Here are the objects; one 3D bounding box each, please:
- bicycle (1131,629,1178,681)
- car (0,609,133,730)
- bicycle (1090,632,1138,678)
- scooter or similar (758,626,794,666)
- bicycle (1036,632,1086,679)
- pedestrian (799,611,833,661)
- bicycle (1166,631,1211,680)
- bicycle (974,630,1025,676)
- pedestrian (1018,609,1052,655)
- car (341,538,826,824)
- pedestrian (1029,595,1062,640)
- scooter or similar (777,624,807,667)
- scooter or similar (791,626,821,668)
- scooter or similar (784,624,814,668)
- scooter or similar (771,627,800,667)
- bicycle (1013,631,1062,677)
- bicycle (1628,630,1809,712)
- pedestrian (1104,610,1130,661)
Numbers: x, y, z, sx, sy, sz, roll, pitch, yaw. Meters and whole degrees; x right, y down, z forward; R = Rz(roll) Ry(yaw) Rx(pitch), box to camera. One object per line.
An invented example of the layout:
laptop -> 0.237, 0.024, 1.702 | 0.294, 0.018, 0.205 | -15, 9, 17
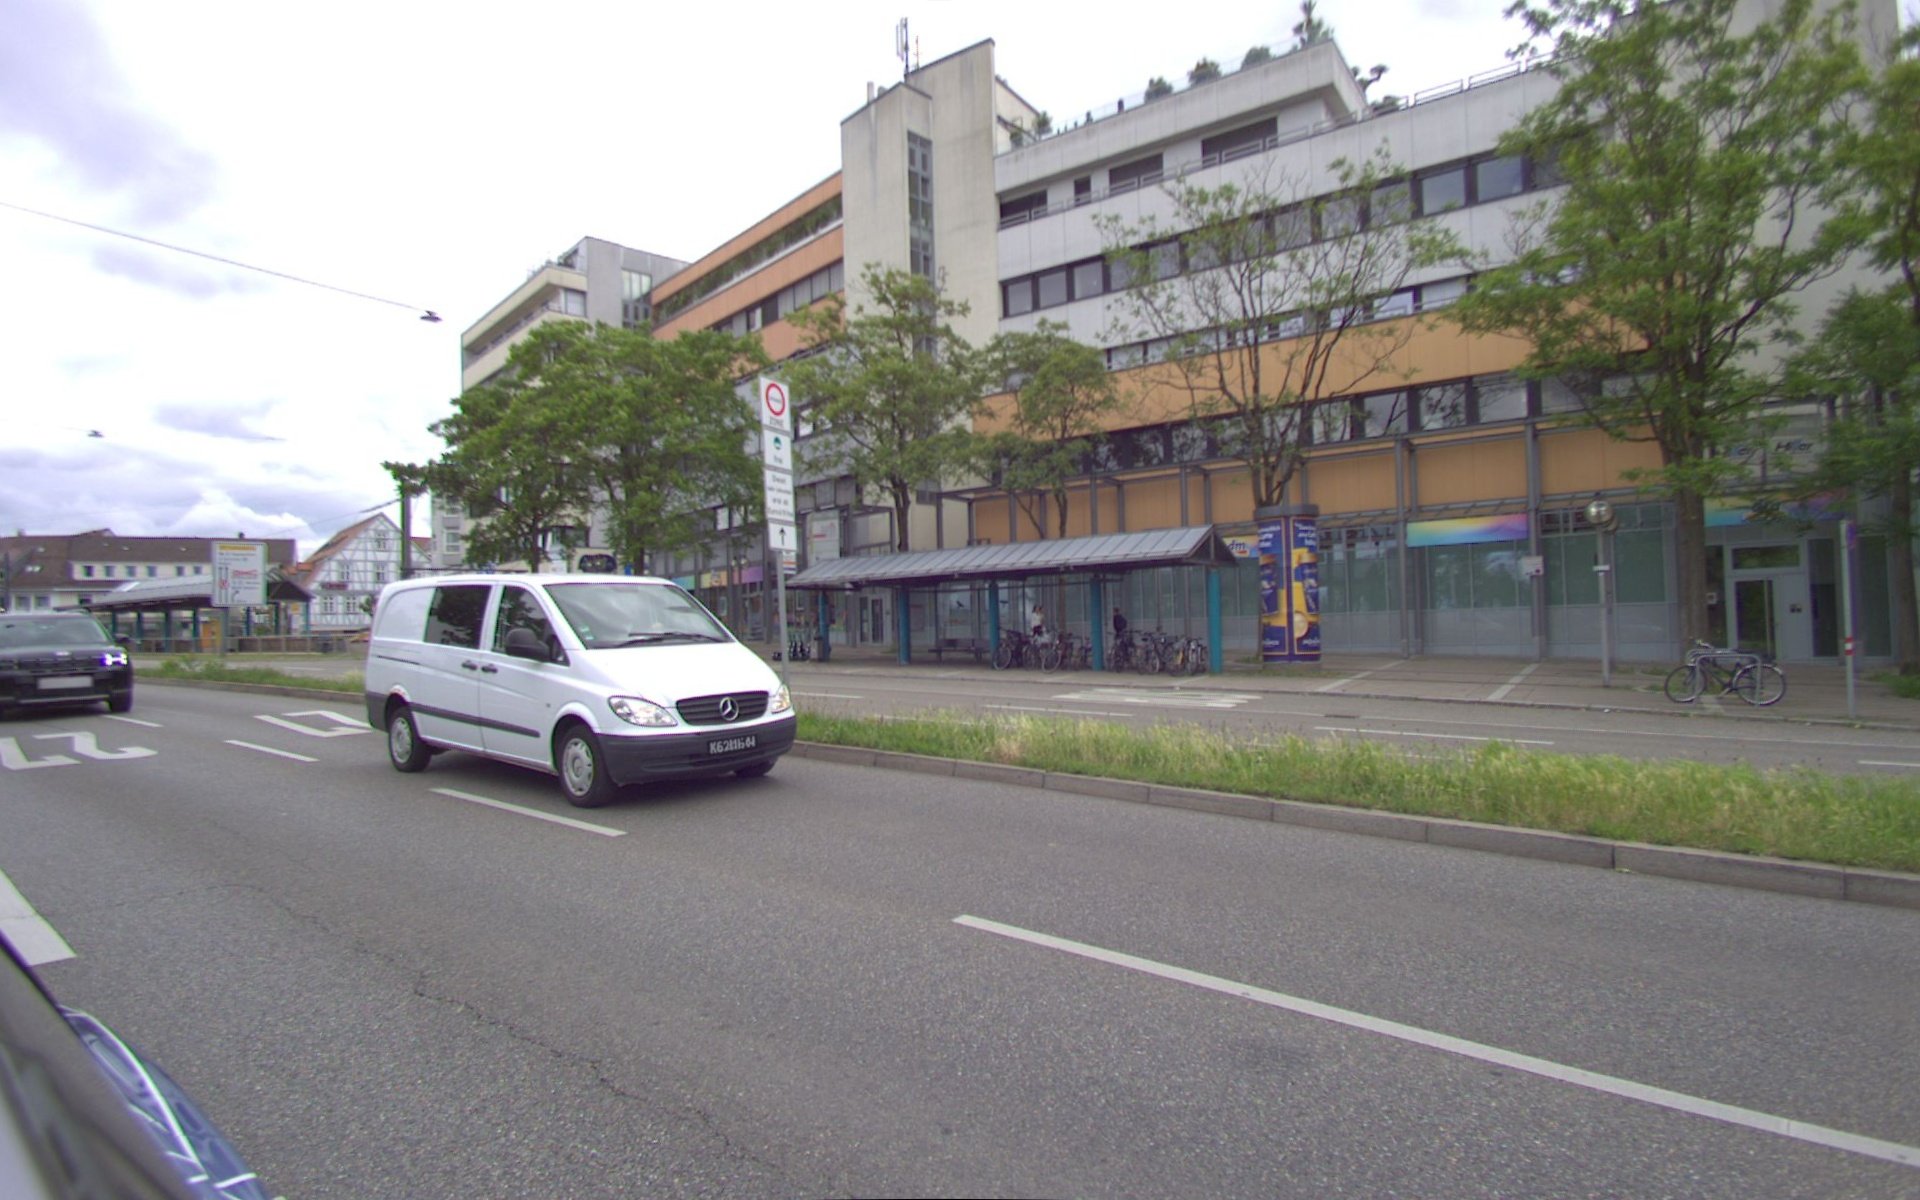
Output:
bicycle -> 5.073, 1.397, 26.303 | 0.707, 1.162, 2.055 | -1, 2, 24
car -> -15.762, 1.091, 17.282 | 4.678, 1.764, 1.901 | -1, 1, 43
bicycle -> 4.110, 1.431, 26.909 | 0.707, 1.162, 2.054 | -1, -2, 24
scooter or similar -> -6.139, 1.530, 33.832 | 0.338, 1.279, 1.311 | -2, 0, 33
bicycle -> 2.757, 1.483, 27.377 | 0.707, 1.162, 2.054 | -1, 0, 24
pedestrian -> -5.217, 1.295, 36.616 | 0.995, 1.795, 0.726 | -2, -2, 36
bicycle -> 5.866, 1.401, 25.873 | 0.707, 1.162, 2.054 | -1, -1, 24
bicycle -> 1.140, 1.486, 28.807 | 0.707, 1.162, 2.055 | -1, 1, 24
pedestrian -> 2.754, 1.173, 37.135 | 0.995, 1.630, 0.726 | -2, -2, 36
car -> -3.728, 0.625, 9.484 | 5.068, 2.029, 1.856 | -2, 0, 38
pedestrian -> 3.212, 0.662, 37.836 | 0.995, 1.630, 0.726 | -2, -2, 36
scooter or similar -> -5.561, 1.499, 33.563 | 0.221, 1.395, 1.192 | -2, -2, 33
scooter or similar -> -5.061, 1.530, 33.291 | 0.259, 1.330, 1.192 | -2, -2, 33
scooter or similar -> -5.307, 1.506, 33.459 | 0.259, 1.434, 1.192 | -2, -2, 33
scooter or similar -> -5.811, 1.564, 33.676 | 0.267, 1.305, 1.119 | -1, -2, 32
bicycle -> 2.186, 1.485, 28.321 | 0.707, 1.162, 2.055 | -1, 1, 24
bicycle -> 13.030, 1.181, 17.485 | 2.420, 1.280, 1.042 | -2, 0, 37
pedestrian -> 5.194, 1.174, 33.427 | 0.675, 1.656, 0.526 | -2, -3, 41
